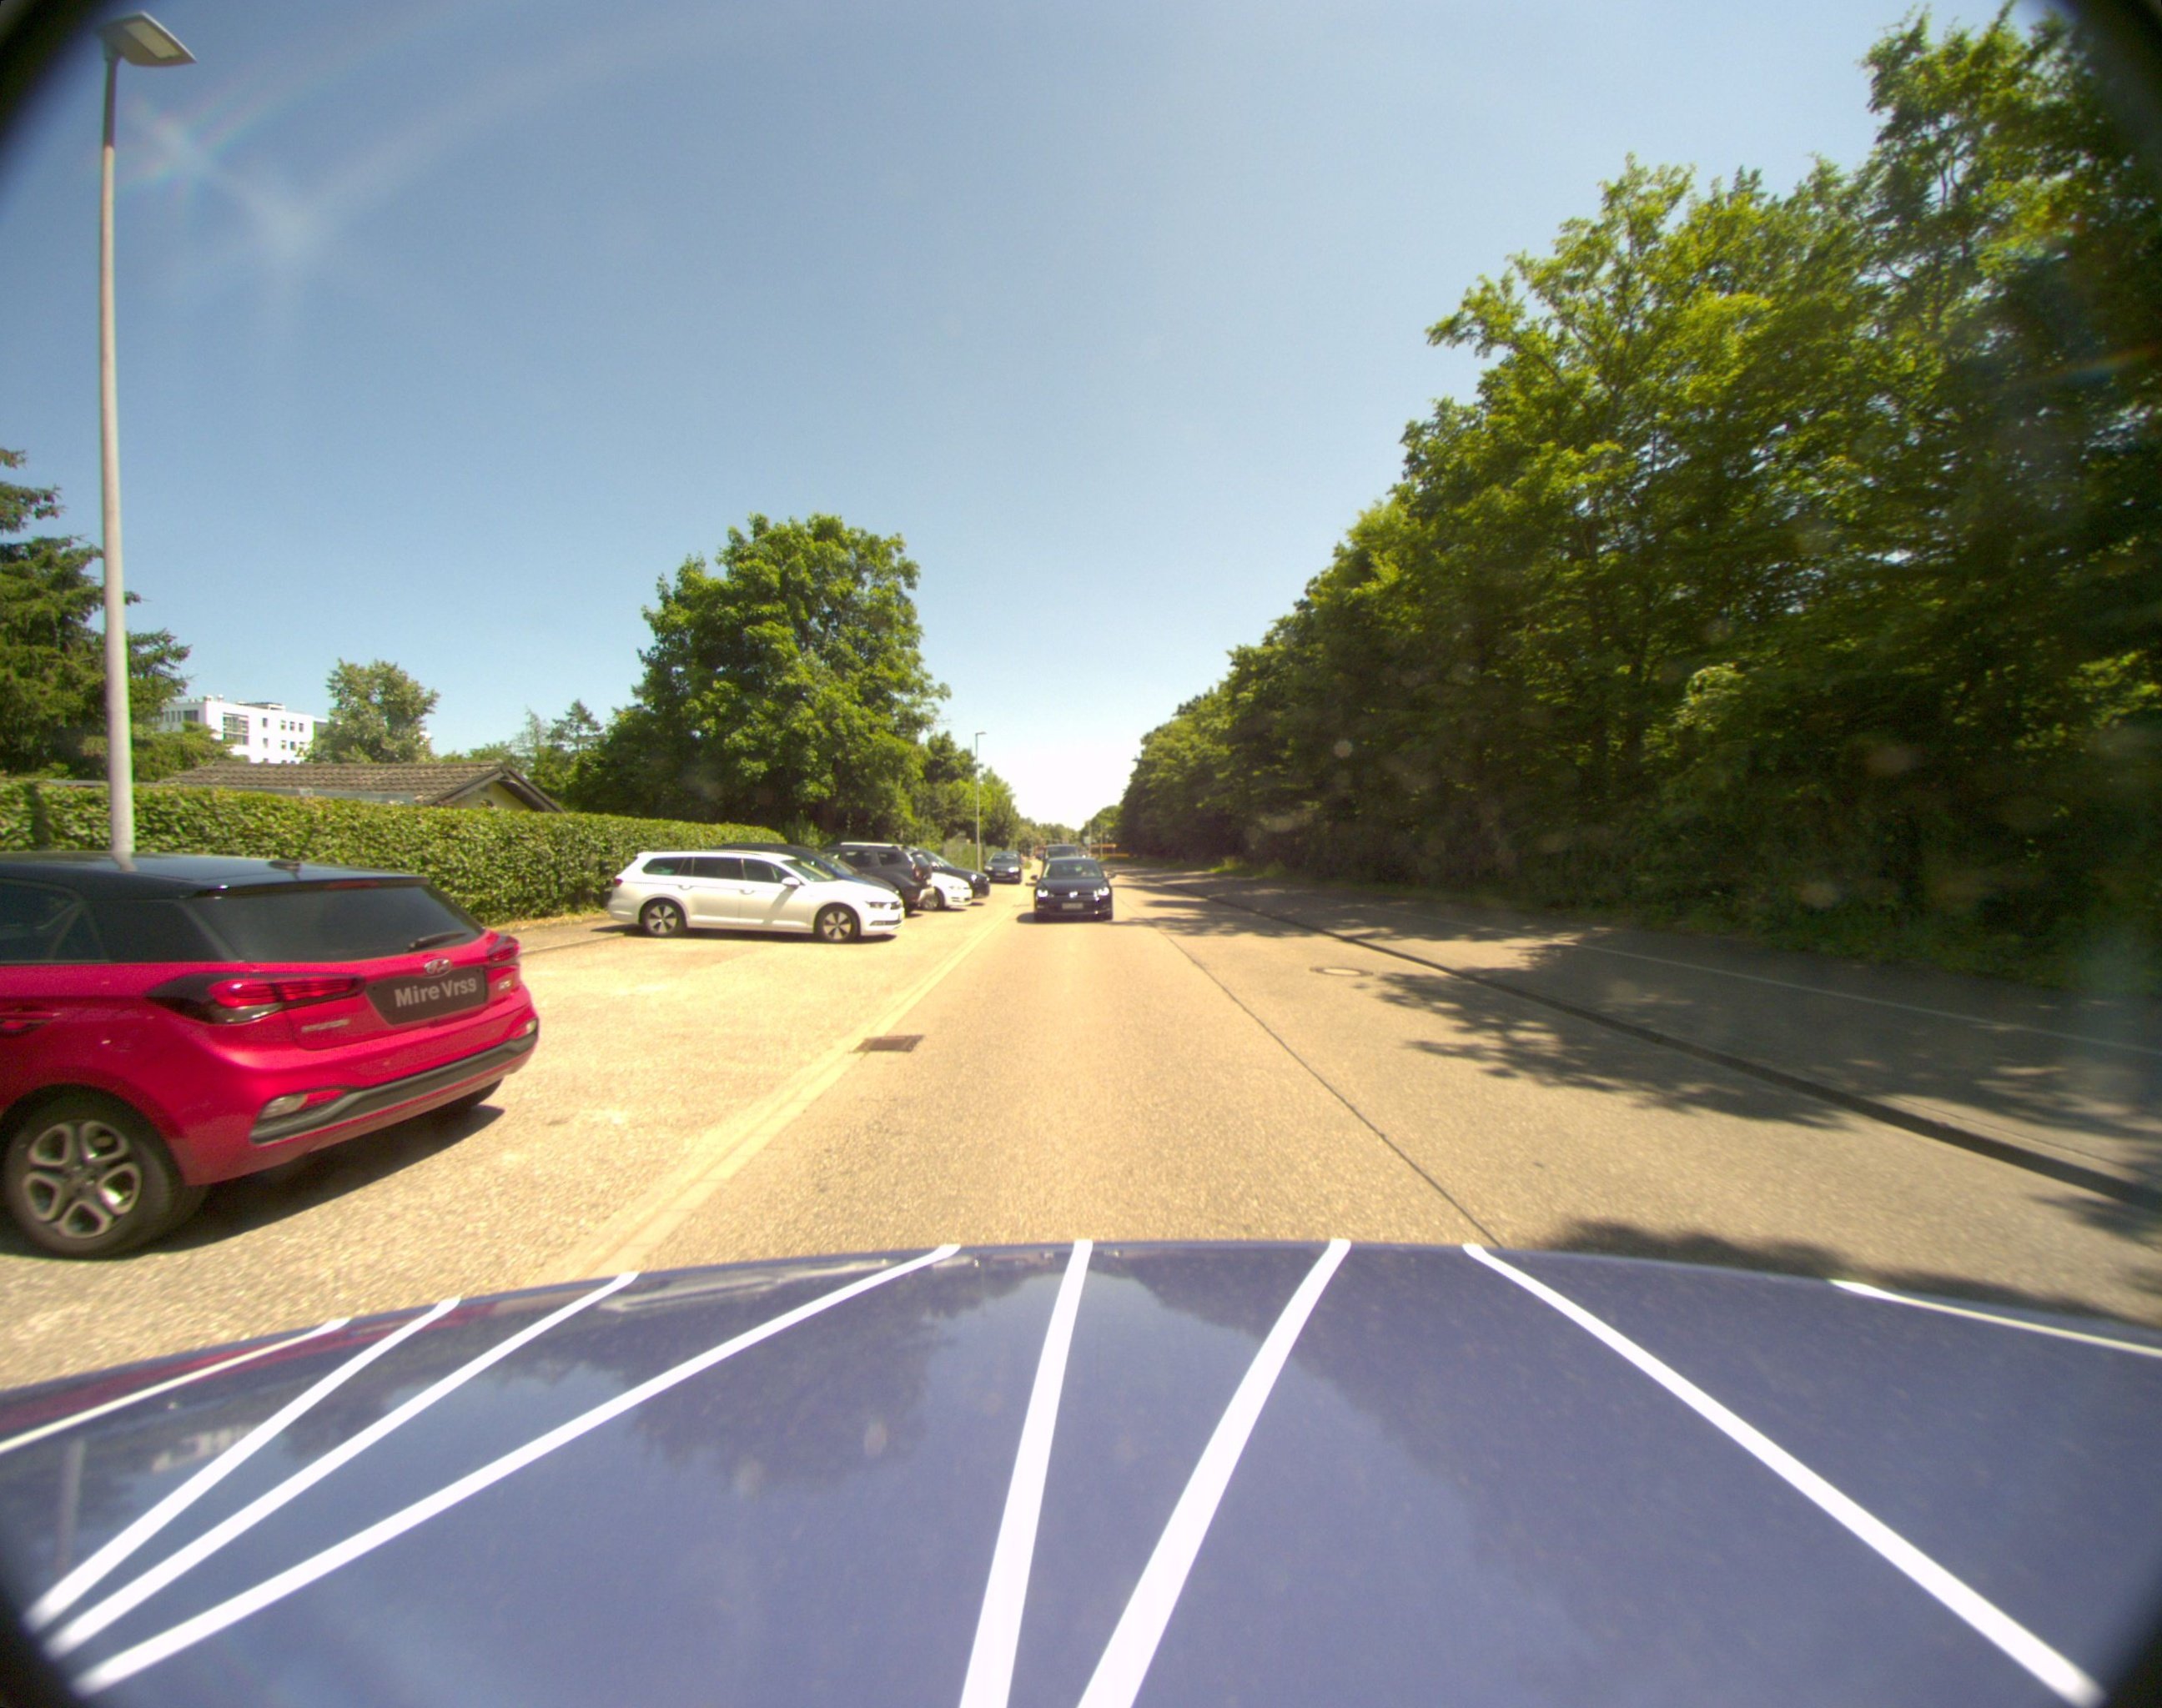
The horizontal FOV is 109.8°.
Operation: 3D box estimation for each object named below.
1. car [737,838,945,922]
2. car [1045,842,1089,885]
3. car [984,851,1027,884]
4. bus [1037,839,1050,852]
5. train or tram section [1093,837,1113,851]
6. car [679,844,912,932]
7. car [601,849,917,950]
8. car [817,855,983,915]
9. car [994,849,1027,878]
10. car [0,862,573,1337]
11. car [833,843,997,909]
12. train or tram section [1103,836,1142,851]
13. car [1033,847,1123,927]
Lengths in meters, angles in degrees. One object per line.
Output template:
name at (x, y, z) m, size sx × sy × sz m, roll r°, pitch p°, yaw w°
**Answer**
car at (-5.551, 0.574, 17.981) m, size 4.268 × 1.688 × 1.853 m, roll 2°, pitch 1°, yaw 1°
car at (-0.744, 0.408, 37.121) m, size 2.002 × 1.965 × 4.448 m, roll -1°, pitch 1°, yaw -3°
car at (-3.683, 0.616, 37.859) m, size 1.794 × 1.473 × 4.663 m, roll 2°, pitch 1°, yaw -2°
bus at (-9.424, -2.187, 193.316) m, size 2.931 × 3.248 × 8.327 m, roll -1°, pitch 1°, yaw -1°
train or tram section at (5.357, -2.395, 186.919) m, size 2.580 × 3.446 × 10.842 m, roll -1°, pitch 1°, yaw -11°
car at (-5.704, 0.646, 15.580) m, size 4.060 × 1.540 × 1.757 m, roll 2°, pitch 1°, yaw -3°
car at (-5.331, 0.736, 13.115) m, size 4.571 × 1.431 × 1.960 m, roll 2°, pitch 1°, yaw -4°
car at (-4.762, 0.791, 20.405) m, size 4.007 × 1.444 × 1.831 m, roll 1°, pitch 1°, yaw 0°
car at (-4.104, 0.518, 44.706) m, size 1.794 × 1.594 × 4.128 m, roll 0°, pitch 0°, yaw -3°
car at (-4.979, 0.849, 3.557) m, size 3.929 × 1.470 × 1.844 m, roll 2°, pitch 1°, yaw 0°
car at (-4.912, 0.629, 23.002) m, size 4.482 × 1.694 × 1.913 m, roll 3°, pitch 1°, yaw -1°
train or tram section at (9.566, -2.383, 177.459) m, size 2.656 × 3.446 × 10.825 m, roll -2°, pitch 1°, yaw -36°
car at (-0.123, 0.696, 18.605) m, size 1.887 × 1.668 × 4.661 m, roll -1°, pitch 0°, yaw -1°
